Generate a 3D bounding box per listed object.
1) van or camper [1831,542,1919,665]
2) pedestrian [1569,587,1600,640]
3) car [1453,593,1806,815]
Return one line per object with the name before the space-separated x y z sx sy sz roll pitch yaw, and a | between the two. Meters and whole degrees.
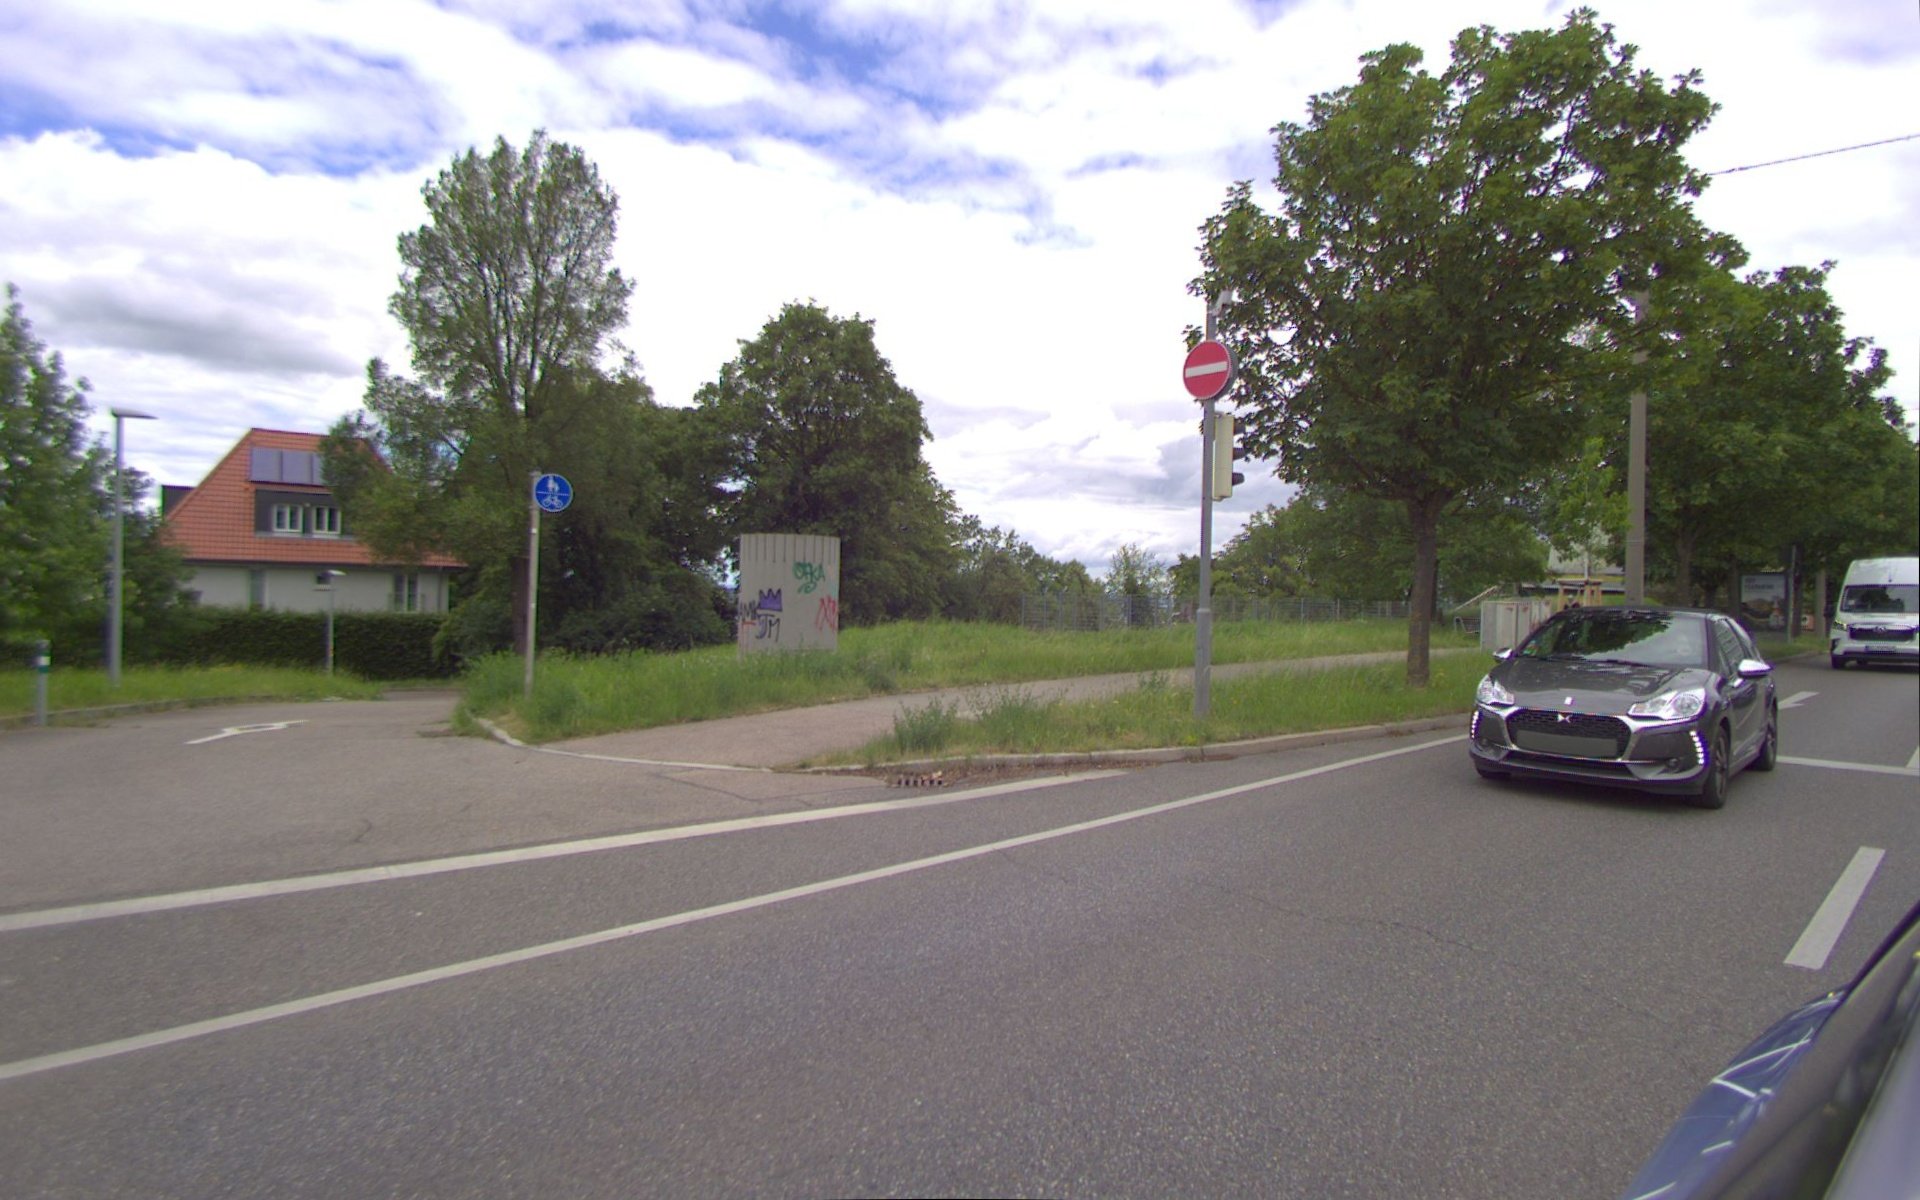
van or camper | 23.333 0.115 24.849 6.188 2.724 2.108 1 -1 -41
pedestrian | 19.972 0.429 32.366 0.690 1.623 0.542 2 4 -44
car | 5.920 0.717 8.754 3.994 1.479 1.702 1 -1 -43
